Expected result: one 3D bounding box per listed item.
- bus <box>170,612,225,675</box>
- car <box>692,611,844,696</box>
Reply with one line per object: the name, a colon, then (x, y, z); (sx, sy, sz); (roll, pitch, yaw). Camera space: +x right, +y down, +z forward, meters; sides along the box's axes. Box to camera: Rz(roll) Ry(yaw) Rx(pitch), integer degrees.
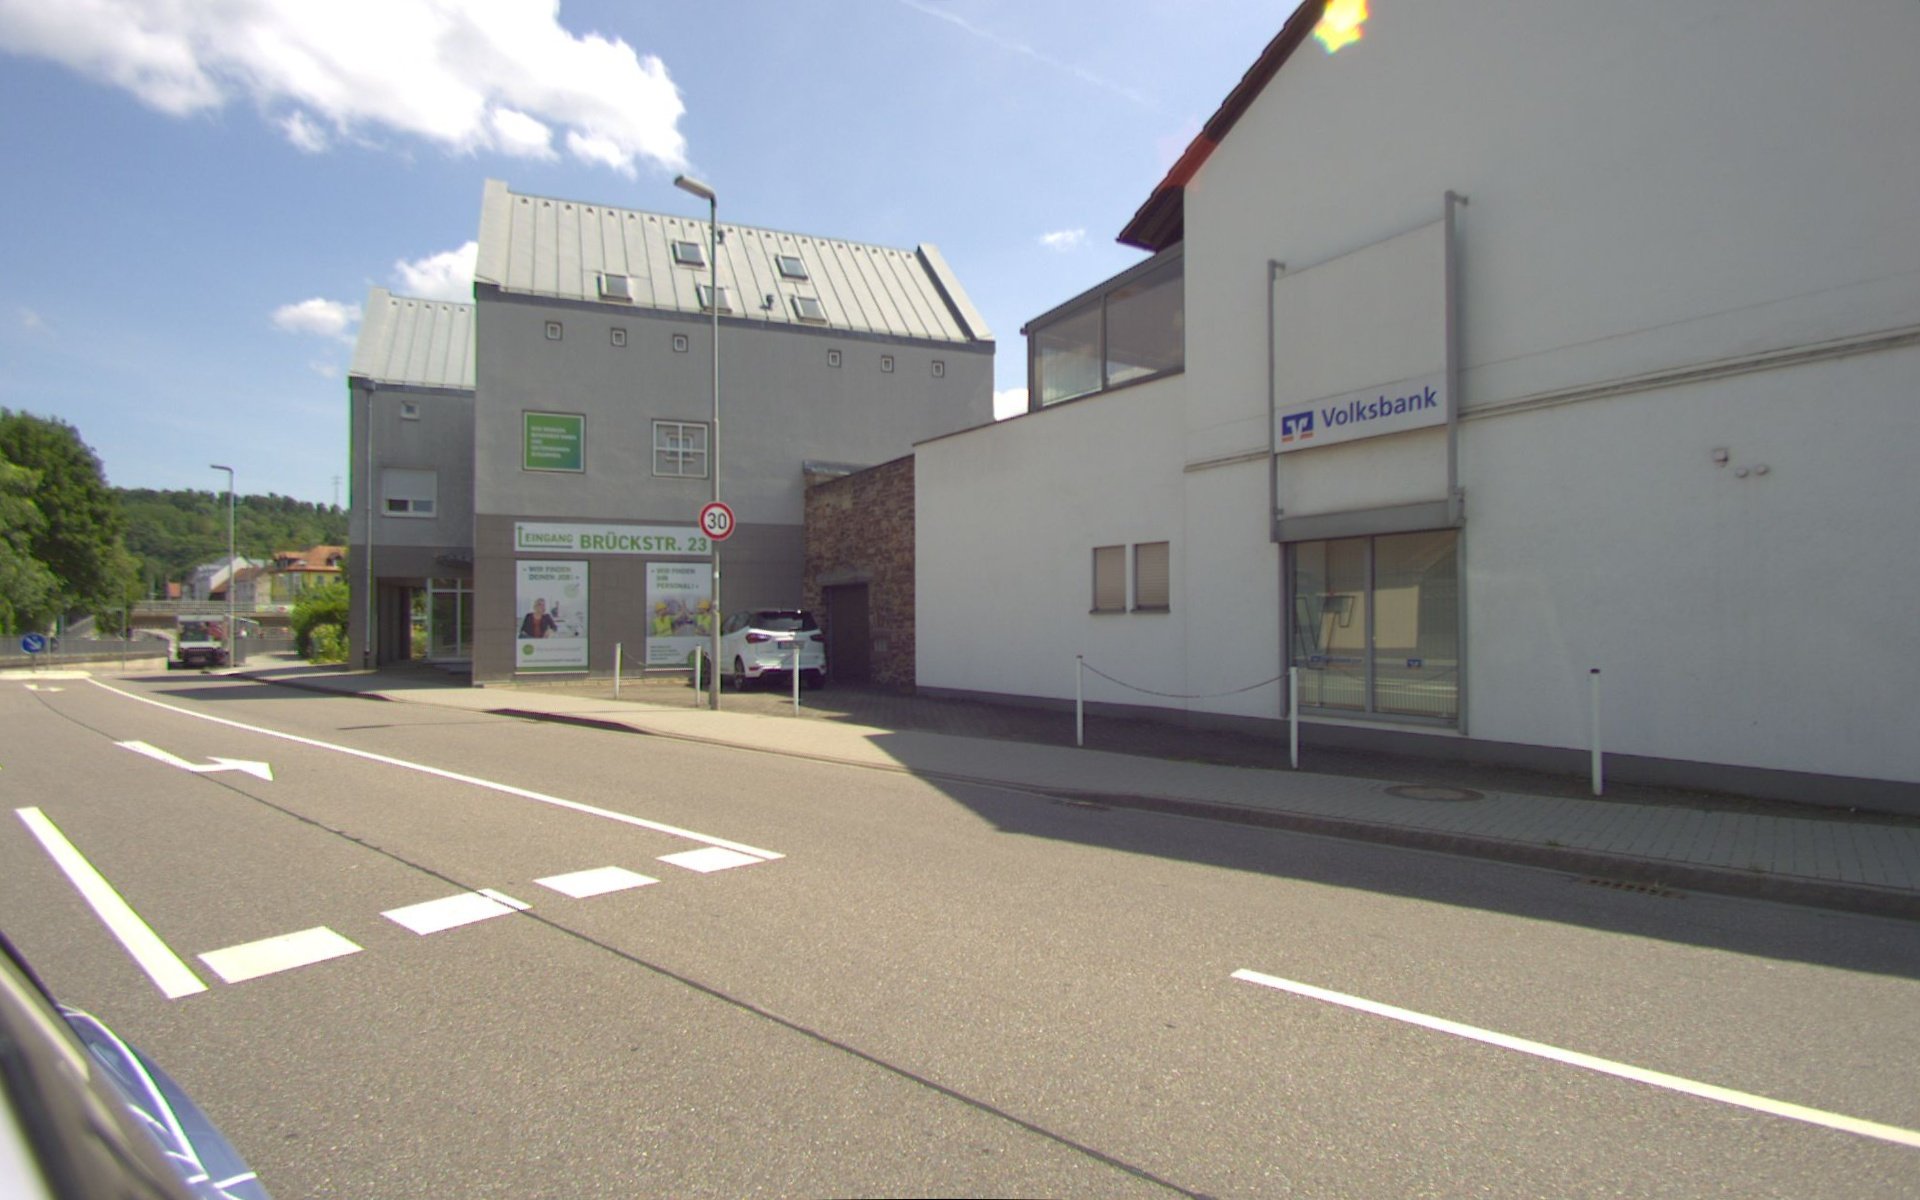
bus: (-53.127, 3.118, 70.682); (2.773, 4.033, 10.991); (1, -4, -36)
car: (-4.127, 1.091, 21.190); (1.965, 1.587, 4.266); (1, -3, -28)
